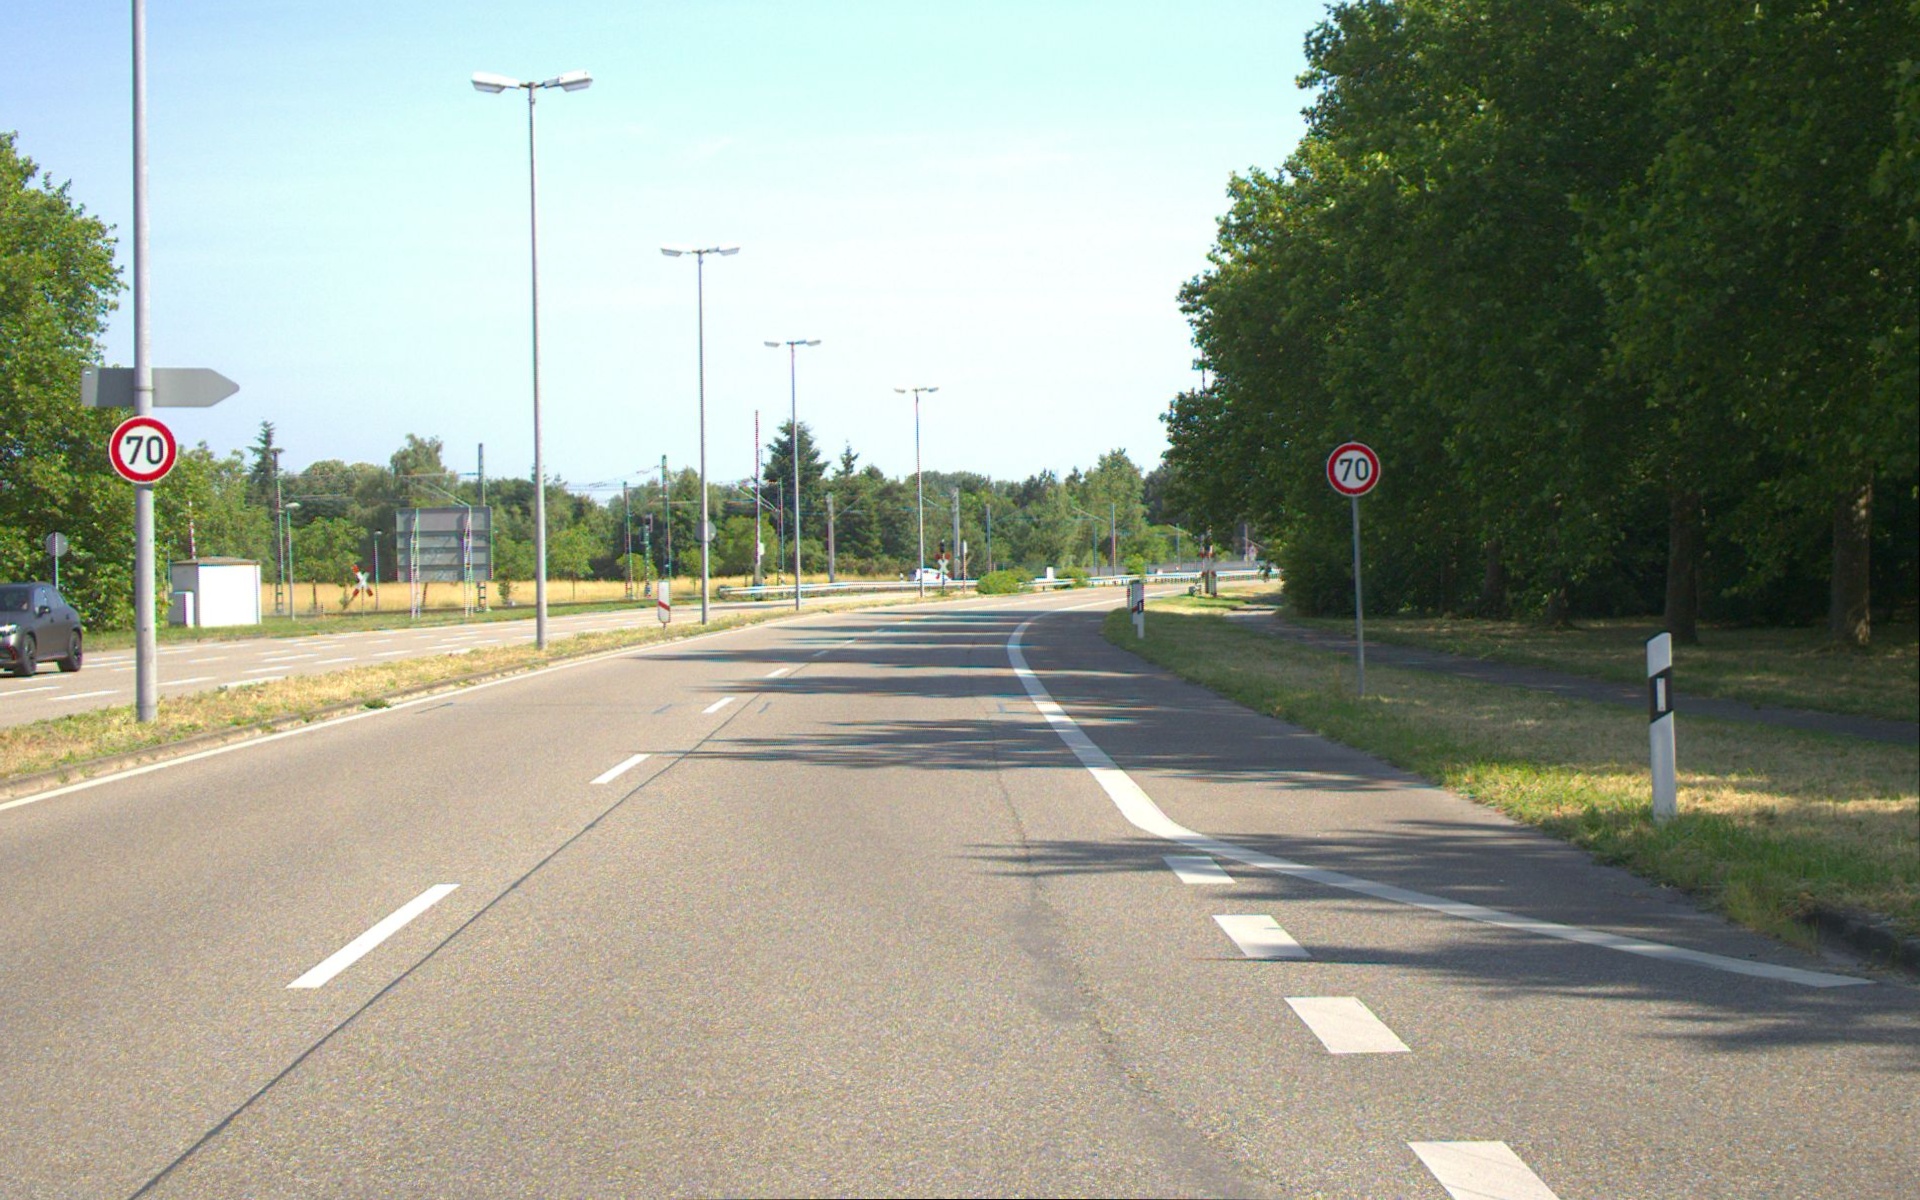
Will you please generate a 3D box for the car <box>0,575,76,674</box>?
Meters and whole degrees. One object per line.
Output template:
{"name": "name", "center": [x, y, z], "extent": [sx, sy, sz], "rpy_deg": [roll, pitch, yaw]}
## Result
{"name": "car", "center": [-17.007, 0.406, 59.957], "extent": [1.982, 1.654, 4.555], "rpy_deg": [-1, 0, 0]}
